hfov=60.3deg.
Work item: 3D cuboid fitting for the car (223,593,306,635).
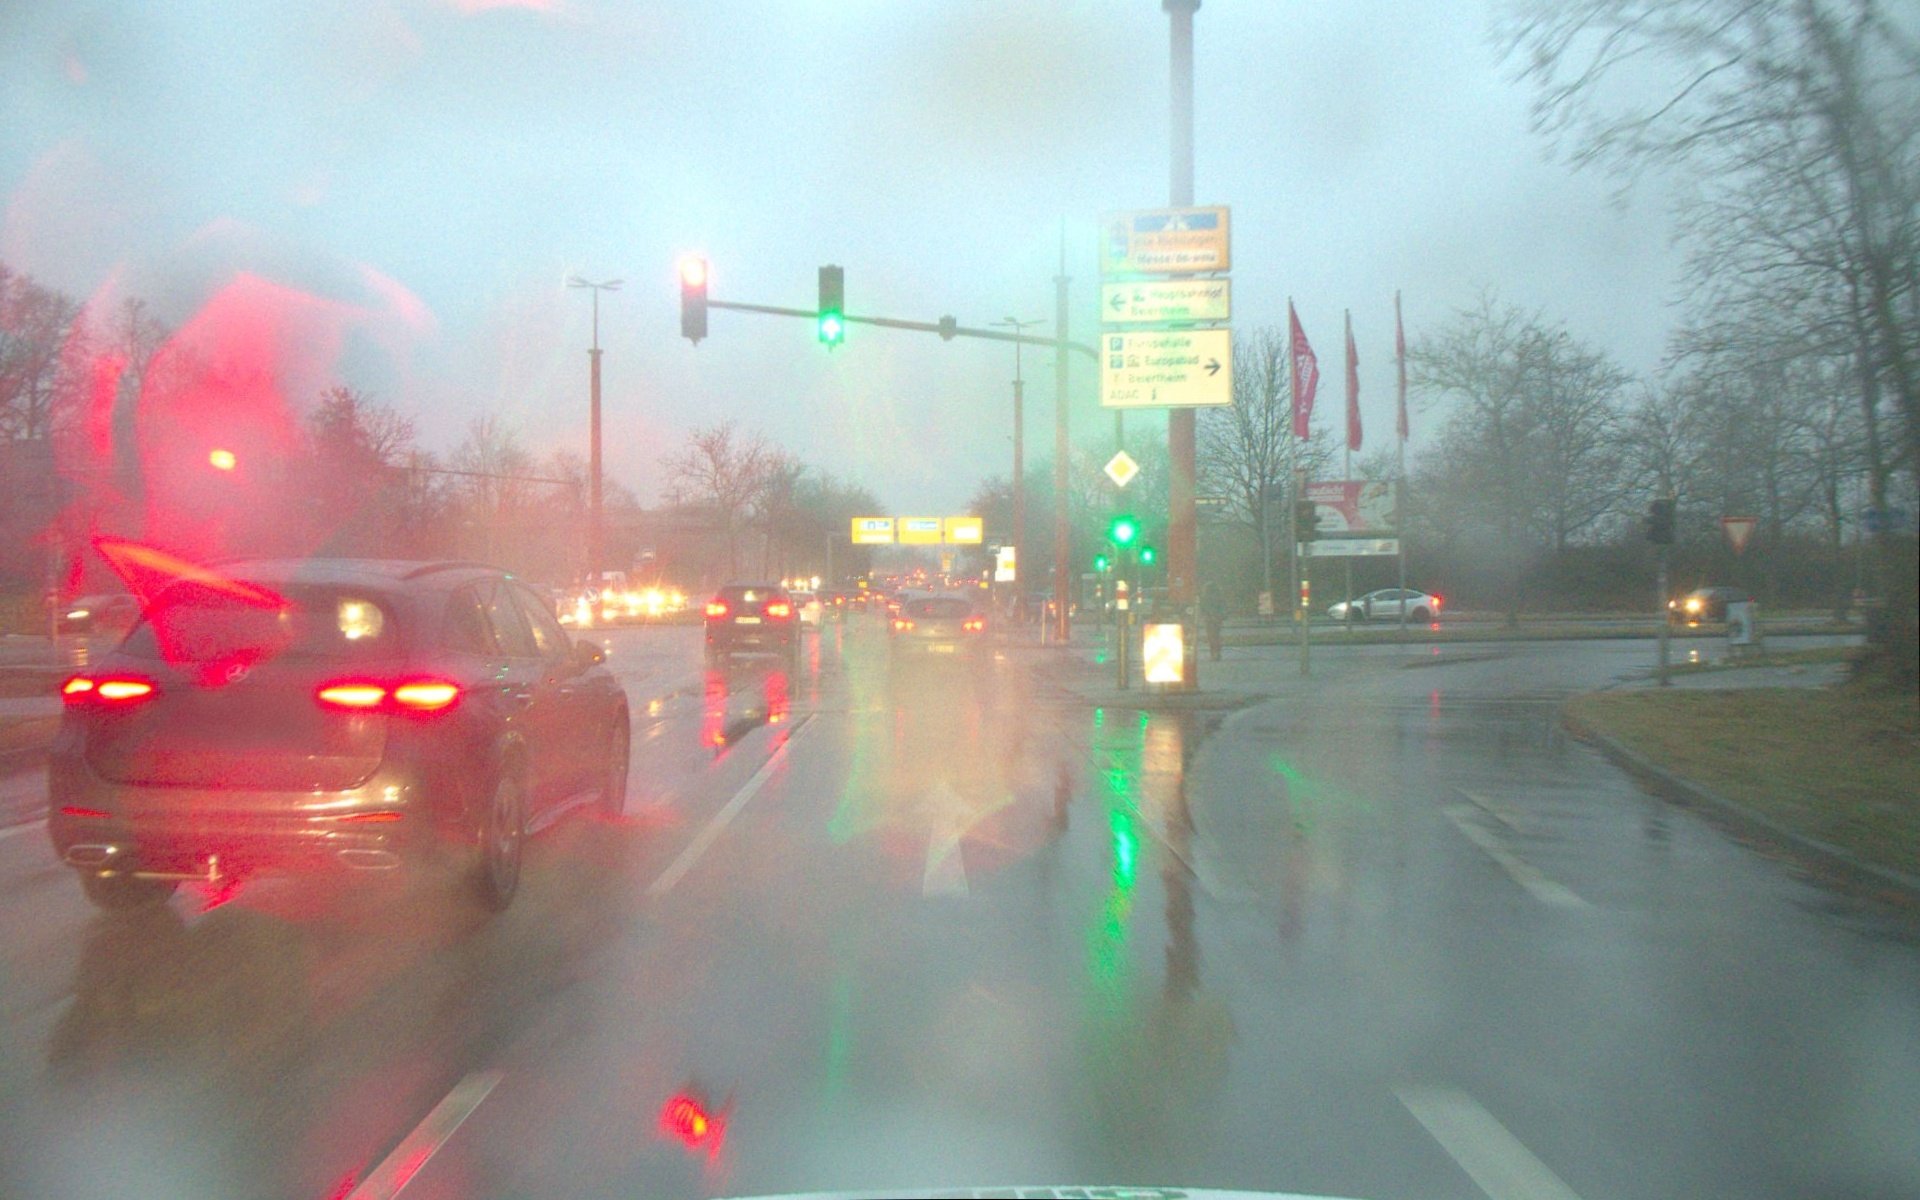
[{"bbox_3d":[-26.915,0.516,64.101,1.586,1.521,4.016,0,0,-1],"label":"car"}]

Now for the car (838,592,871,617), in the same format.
[{"bbox_3d":[-6.476,0.251,102.027,1.785,1.530,3.999,0,0,-1],"label":"car"}]

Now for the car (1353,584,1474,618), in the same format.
[{"bbox_3d":[19.067,0.054,69.694,4.641,1.400,1.883,0,0,2],"label":"car"}]

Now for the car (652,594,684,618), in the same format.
[{"bbox_3d":[-20.716,0.402,117.447,1.734,1.614,4.032,0,0,-2],"label":"car"}]

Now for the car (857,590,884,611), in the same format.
[{"bbox_3d":[-7.009,0.076,130.131,1.953,1.604,3.999,1,-1,-1],"label":"car"}]

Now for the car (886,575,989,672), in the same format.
[{"bbox_3d":[-0.414,0.405,31.078,1.785,1.677,4.466,-1,0,-1],"label":"car"}]

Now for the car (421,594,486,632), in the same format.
[{"bbox_3d":[-20.158,0.494,65.931,1.618,1.445,3.325,0,0,-2],"label":"car"}]

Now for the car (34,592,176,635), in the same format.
[{"bbox_3d":[-32.748,0.491,63.478,1.960,1.556,4.467,0,0,36],"label":"car"}]

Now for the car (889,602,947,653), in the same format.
[{"bbox_3d":[-1.465,0.957,58.579,1.953,1.691,3.999,1,-1,-1],"label":"car"}]

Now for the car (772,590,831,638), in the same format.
[{"bbox_3d":[-5.692,0.494,59.711,1.785,1.677,3.999,0,0,-1],"label":"car"}]

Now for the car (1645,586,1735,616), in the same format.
[{"bbox_3d":[32.634,0.041,73.924,3.939,1.332,1.623,0,0,-27],"label":"car"}]

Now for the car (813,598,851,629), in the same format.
[{"bbox_3d":[-5.847,0.597,75.710,1.474,1.362,3.999,0,0,-1],"label":"car"}]

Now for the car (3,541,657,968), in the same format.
[{"bbox_3d":[-2.887,0.603,8.745,1.785,1.677,4.466,0,0,-1],"label":"car"}]

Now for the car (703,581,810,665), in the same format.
[{"bbox_3d":[-4.211,0.453,34.727,1.785,1.677,3.999,0,0,-1],"label":"car"}]

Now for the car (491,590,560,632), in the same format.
[{"bbox_3d":[-17.192,0.421,65.640,1.820,1.609,4.077,0,0,-3],"label":"car"}]
